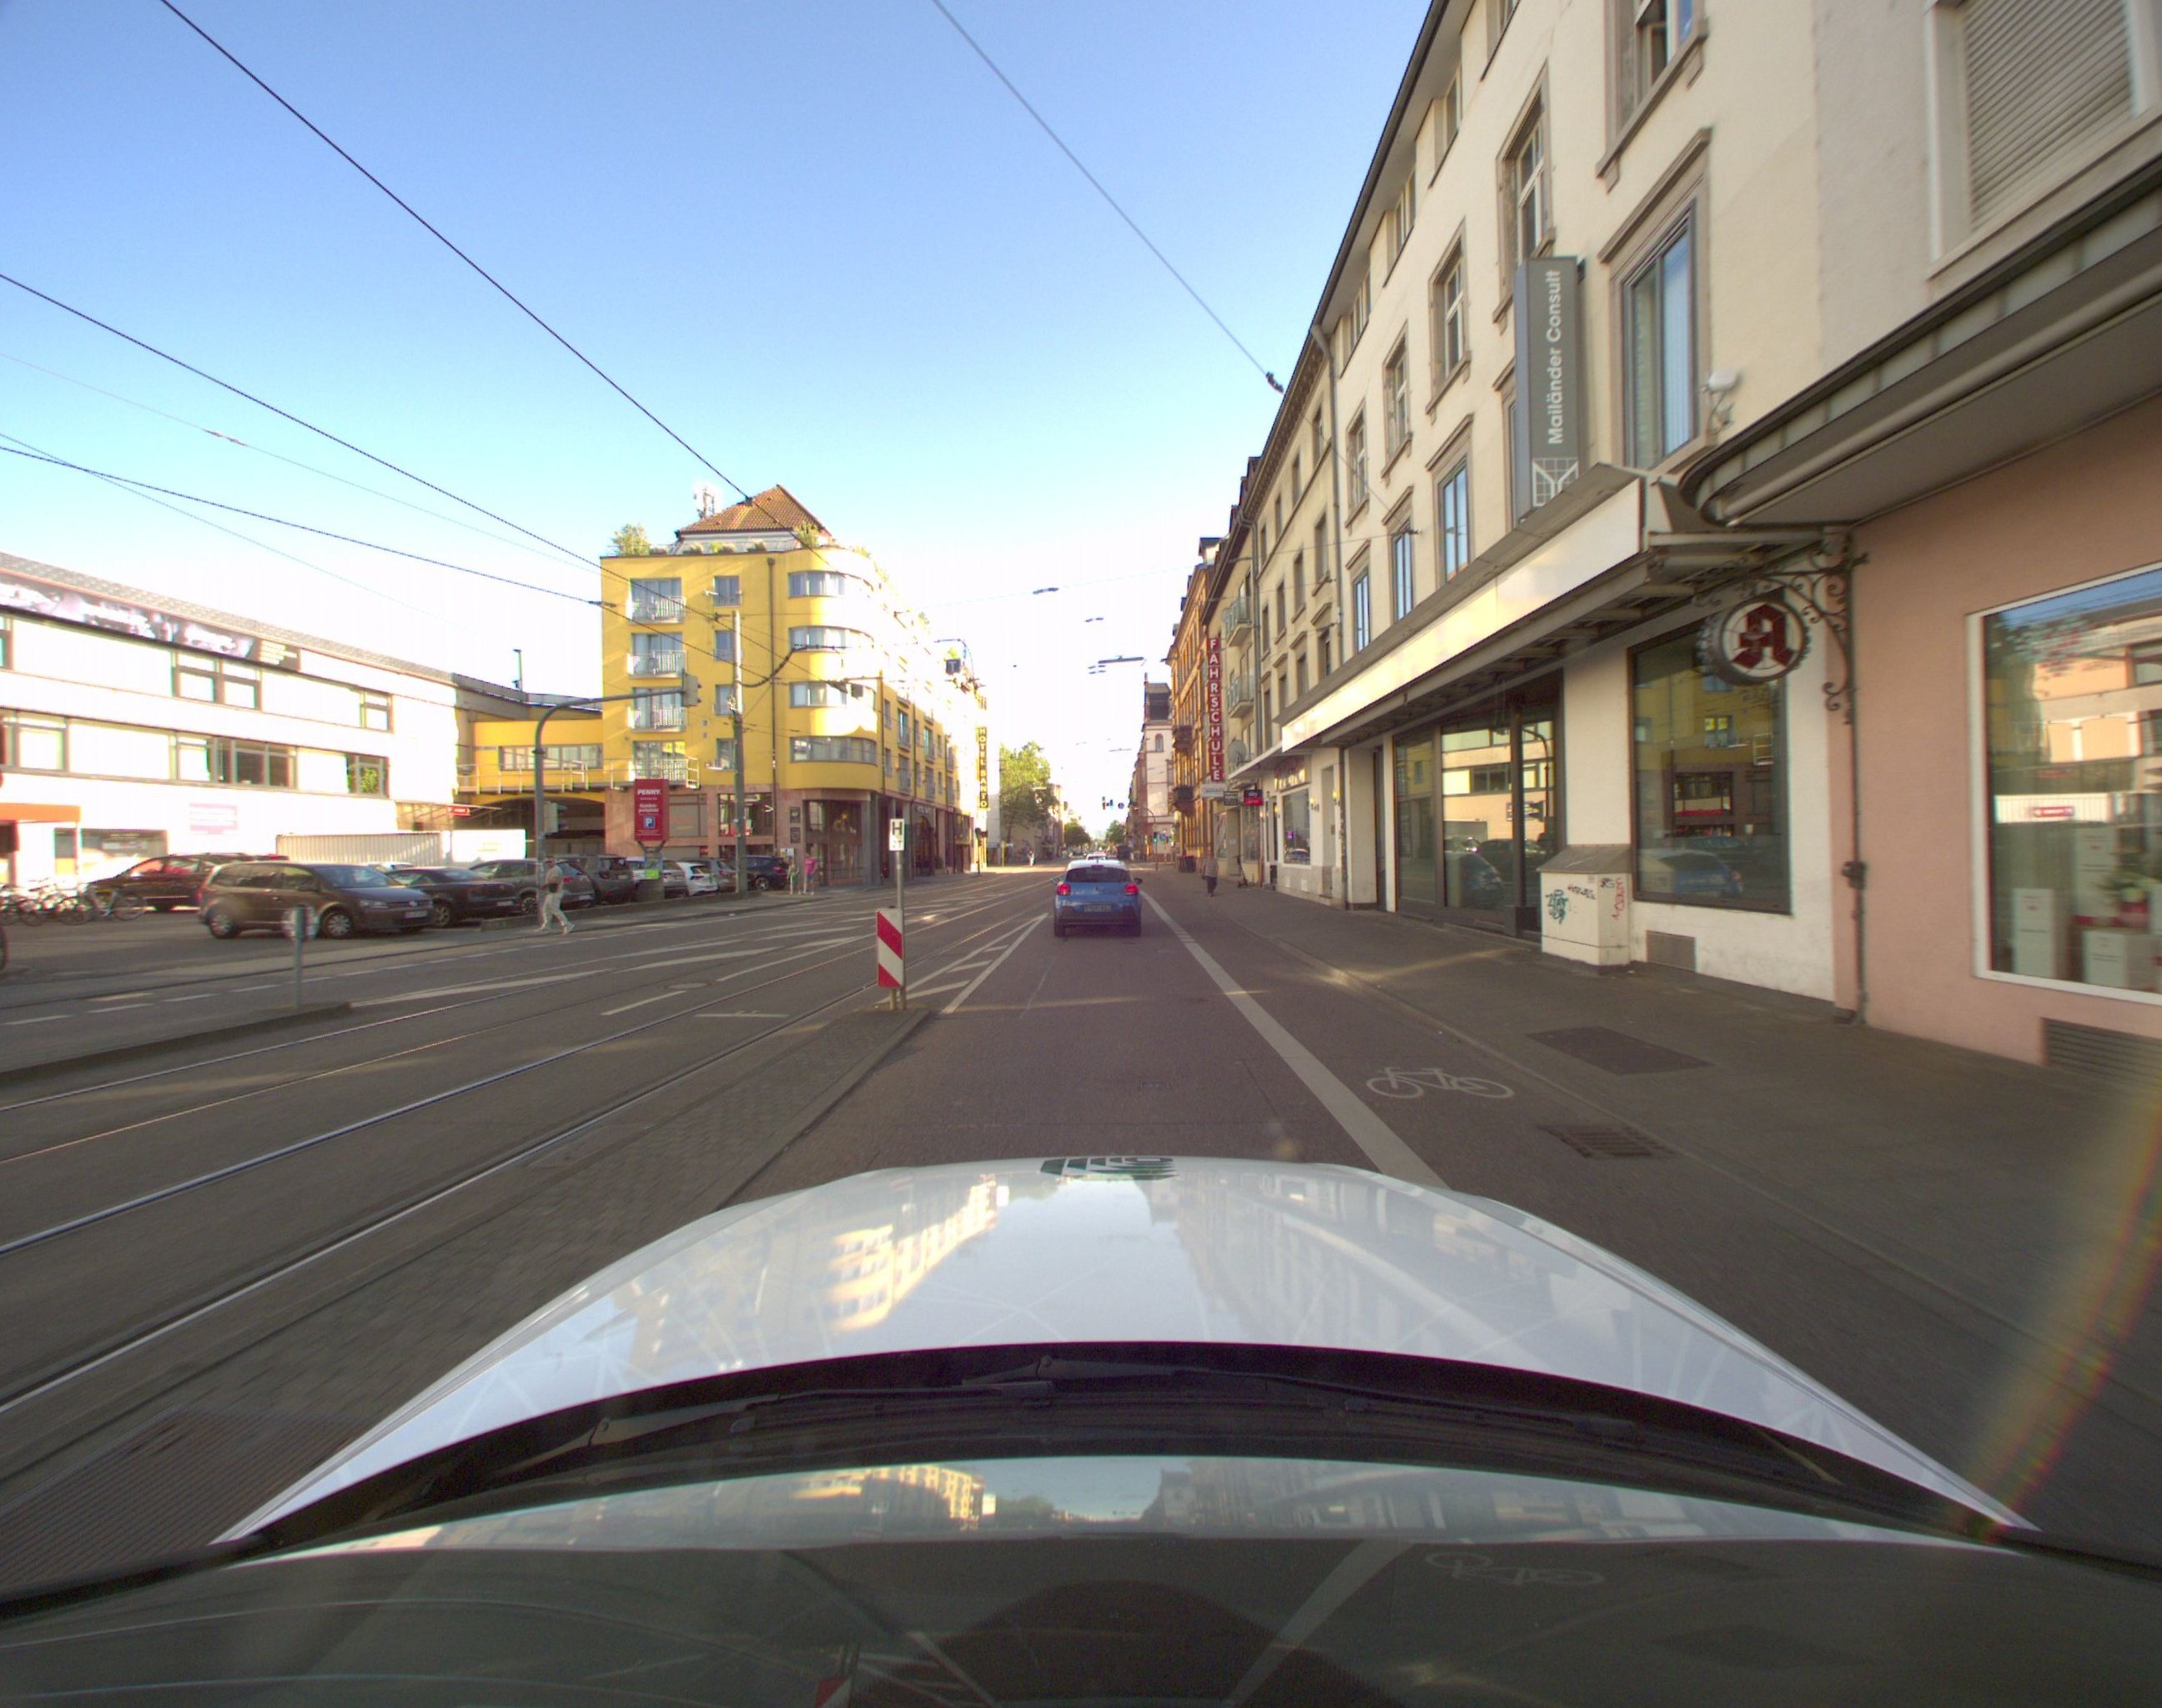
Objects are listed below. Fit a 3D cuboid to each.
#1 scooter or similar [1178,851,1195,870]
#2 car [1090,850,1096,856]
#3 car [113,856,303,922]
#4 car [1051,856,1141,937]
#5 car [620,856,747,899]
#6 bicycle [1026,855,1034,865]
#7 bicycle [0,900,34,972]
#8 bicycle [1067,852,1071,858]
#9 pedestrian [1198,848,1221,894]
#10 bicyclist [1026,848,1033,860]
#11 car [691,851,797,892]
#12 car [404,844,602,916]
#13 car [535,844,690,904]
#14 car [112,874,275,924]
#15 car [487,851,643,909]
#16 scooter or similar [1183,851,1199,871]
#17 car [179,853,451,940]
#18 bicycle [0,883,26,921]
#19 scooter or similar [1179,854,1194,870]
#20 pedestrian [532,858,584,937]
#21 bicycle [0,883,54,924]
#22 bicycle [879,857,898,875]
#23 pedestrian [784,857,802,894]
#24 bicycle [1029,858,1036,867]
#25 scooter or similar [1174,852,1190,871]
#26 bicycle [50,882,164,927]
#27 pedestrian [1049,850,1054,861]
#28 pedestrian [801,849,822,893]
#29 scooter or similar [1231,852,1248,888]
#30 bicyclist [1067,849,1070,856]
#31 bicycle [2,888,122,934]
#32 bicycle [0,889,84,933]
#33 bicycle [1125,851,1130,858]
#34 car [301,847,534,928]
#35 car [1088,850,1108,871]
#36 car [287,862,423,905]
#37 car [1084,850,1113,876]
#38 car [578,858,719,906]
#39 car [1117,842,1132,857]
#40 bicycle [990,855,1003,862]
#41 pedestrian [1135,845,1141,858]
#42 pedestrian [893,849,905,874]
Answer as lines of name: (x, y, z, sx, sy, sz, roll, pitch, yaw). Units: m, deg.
scooter or similar: (6.888, 0.438, 53.141, 0.930, 1.148, 0.650, -5, 0, 0)
car: (3.609, -0.318, 245.515, 1.987, 1.744, 4.563, -1, 0, 1)
car: (-25.077, 0.971, 23.487, 3.567, 1.748, 1.695, -1, 0, -1)
car: (0.365, 0.796, 17.181, 1.667, 1.477, 4.003, 0, 0, 2)
car: (-16.066, 0.943, 33.029, 4.218, 1.548, 1.785, -2, -2, 1)
bicycle: (-6.027, 0.712, 96.441, 0.728, 1.088, 2.061, -1, 0, 0)
bicycle: (-16.714, 1.235, 12.482, 1.856, 1.036, 0.428, -1, 0, 26)
bicycle: (-2.521, 0.253, 166.743, 0.690, 1.120, 2.084, -1, 0, 1)
pedestrian: (4.384, 0.573, 27.833, 0.646, 1.560, 0.781, -1, 0, 0)
bicyclist: (-6.055, 0.031, 96.286, 0.721, 1.381, 1.228, 0, 1, 0)
car: (-15.986, 0.803, 38.734, 4.218, 1.812, 1.786, -1, 0, 1)
car: (-16.030, 0.692, 22.735, 4.217, 1.812, 1.786, -1, 0, 1)
car: (-15.977, 0.683, 27.910, 4.218, 1.812, 1.785, -2, -2, 1)
car: (-29.776, 1.500, 27.396, 3.626, 1.482, 1.626, -2, -1, -1)
car: (-15.984, 0.785, 25.353, 3.675, 1.672, 1.786, -1, 0, 2)
scooter or similar: (6.935, 0.431, 51.525, 0.788, 1.148, 0.790, -5, 0, 0)
car: (-16.500, 0.888, 17.687, 4.218, 1.763, 1.786, 0, 0, 1)
bicycle: (-29.247, 1.310, 21.335, 0.502, 1.014, 2.062, -1, 0, -1)
scooter or similar: (6.796, 0.502, 52.448, 0.788, 0.957, 0.680, -5, 0, 0)
pedestrian: (-12.078, 0.983, 18.838, 0.712, 1.764, 0.779, -1, 0, -5)
bicycle: (-28.481, 1.317, 21.352, 0.494, 1.014, 2.062, -1, 0, -1)
bicycle: (-13.615, 0.834, 57.679, 0.578, 1.203, 2.084, -1, 0, 6)
pedestrian: (-12.858, 0.962, 36.346, 0.570, 1.617, 0.499, -1, 0, 0)
bicycle: (-6.211, 1.092, 103.522, 0.728, 1.065, 2.061, -1, 0, 0)
scooter or similar: (6.748, 0.497, 54.207, 0.894, 1.148, 0.547, -5, 0, 0)
bicycle: (-25.437, 1.296, 21.330, 0.508, 1.014, 2.062, -1, 0, -1)
pedestrian: (-5.252, 0.269, 144.280, 0.678, 1.765, 1.029, -1, 0, 12)
pedestrian: (-12.018, 0.751, 36.303, 0.635, 1.946, 0.709, -1, 0, 0)
scooter or similar: (5.811, 0.569, 29.797, 0.407, 1.281, 1.290, -1, 0, 18)
bicyclist: (-2.553, -0.306, 166.684, 0.680, 1.483, 0.778, -2, 0, 0)
bicycle: (-26.358, 1.443, 21.118, 0.511, 1.014, 2.062, -1, 0, -1)
bicycle: (-27.452, 1.470, 21.181, 0.502, 1.014, 2.062, -1, 0, -1)
bicycle: (6.518, 0.119, 114.030, 0.430, 0.947, 1.760, -1, 0, -5)
car: (-16.181, 0.791, 20.007, 4.218, 1.812, 1.786, -1, 0, 1)
car: (1.687, 0.589, 81.604, 1.987, 2.013, 4.000, -2, 0, 1)
car: (-27.680, 1.097, 31.130, 3.567, 1.479, 1.695, -1, 1, -1)
car: (1.069, 0.527, 50.628, 1.661, 1.478, 4.000, -2, 0, 1)
car: (-15.980, 1.025, 30.212, 4.218, 1.609, 1.786, -1, 0, 1)
car: (7.081, -0.740, 134.171, 2.263, 2.436, 5.722, -1, 0, 2)
bicycle: (-13.157, 0.751, 126.835, 1.898, 1.034, 0.669, -1, 0, 27)
pedestrian: (8.026, -0.320, 114.966, 0.703, 1.782, 0.673, -1, -1, 0)
pedestrian: (-12.822, 0.511, 57.318, 0.558, 1.770, 0.724, -1, 0, 6)
